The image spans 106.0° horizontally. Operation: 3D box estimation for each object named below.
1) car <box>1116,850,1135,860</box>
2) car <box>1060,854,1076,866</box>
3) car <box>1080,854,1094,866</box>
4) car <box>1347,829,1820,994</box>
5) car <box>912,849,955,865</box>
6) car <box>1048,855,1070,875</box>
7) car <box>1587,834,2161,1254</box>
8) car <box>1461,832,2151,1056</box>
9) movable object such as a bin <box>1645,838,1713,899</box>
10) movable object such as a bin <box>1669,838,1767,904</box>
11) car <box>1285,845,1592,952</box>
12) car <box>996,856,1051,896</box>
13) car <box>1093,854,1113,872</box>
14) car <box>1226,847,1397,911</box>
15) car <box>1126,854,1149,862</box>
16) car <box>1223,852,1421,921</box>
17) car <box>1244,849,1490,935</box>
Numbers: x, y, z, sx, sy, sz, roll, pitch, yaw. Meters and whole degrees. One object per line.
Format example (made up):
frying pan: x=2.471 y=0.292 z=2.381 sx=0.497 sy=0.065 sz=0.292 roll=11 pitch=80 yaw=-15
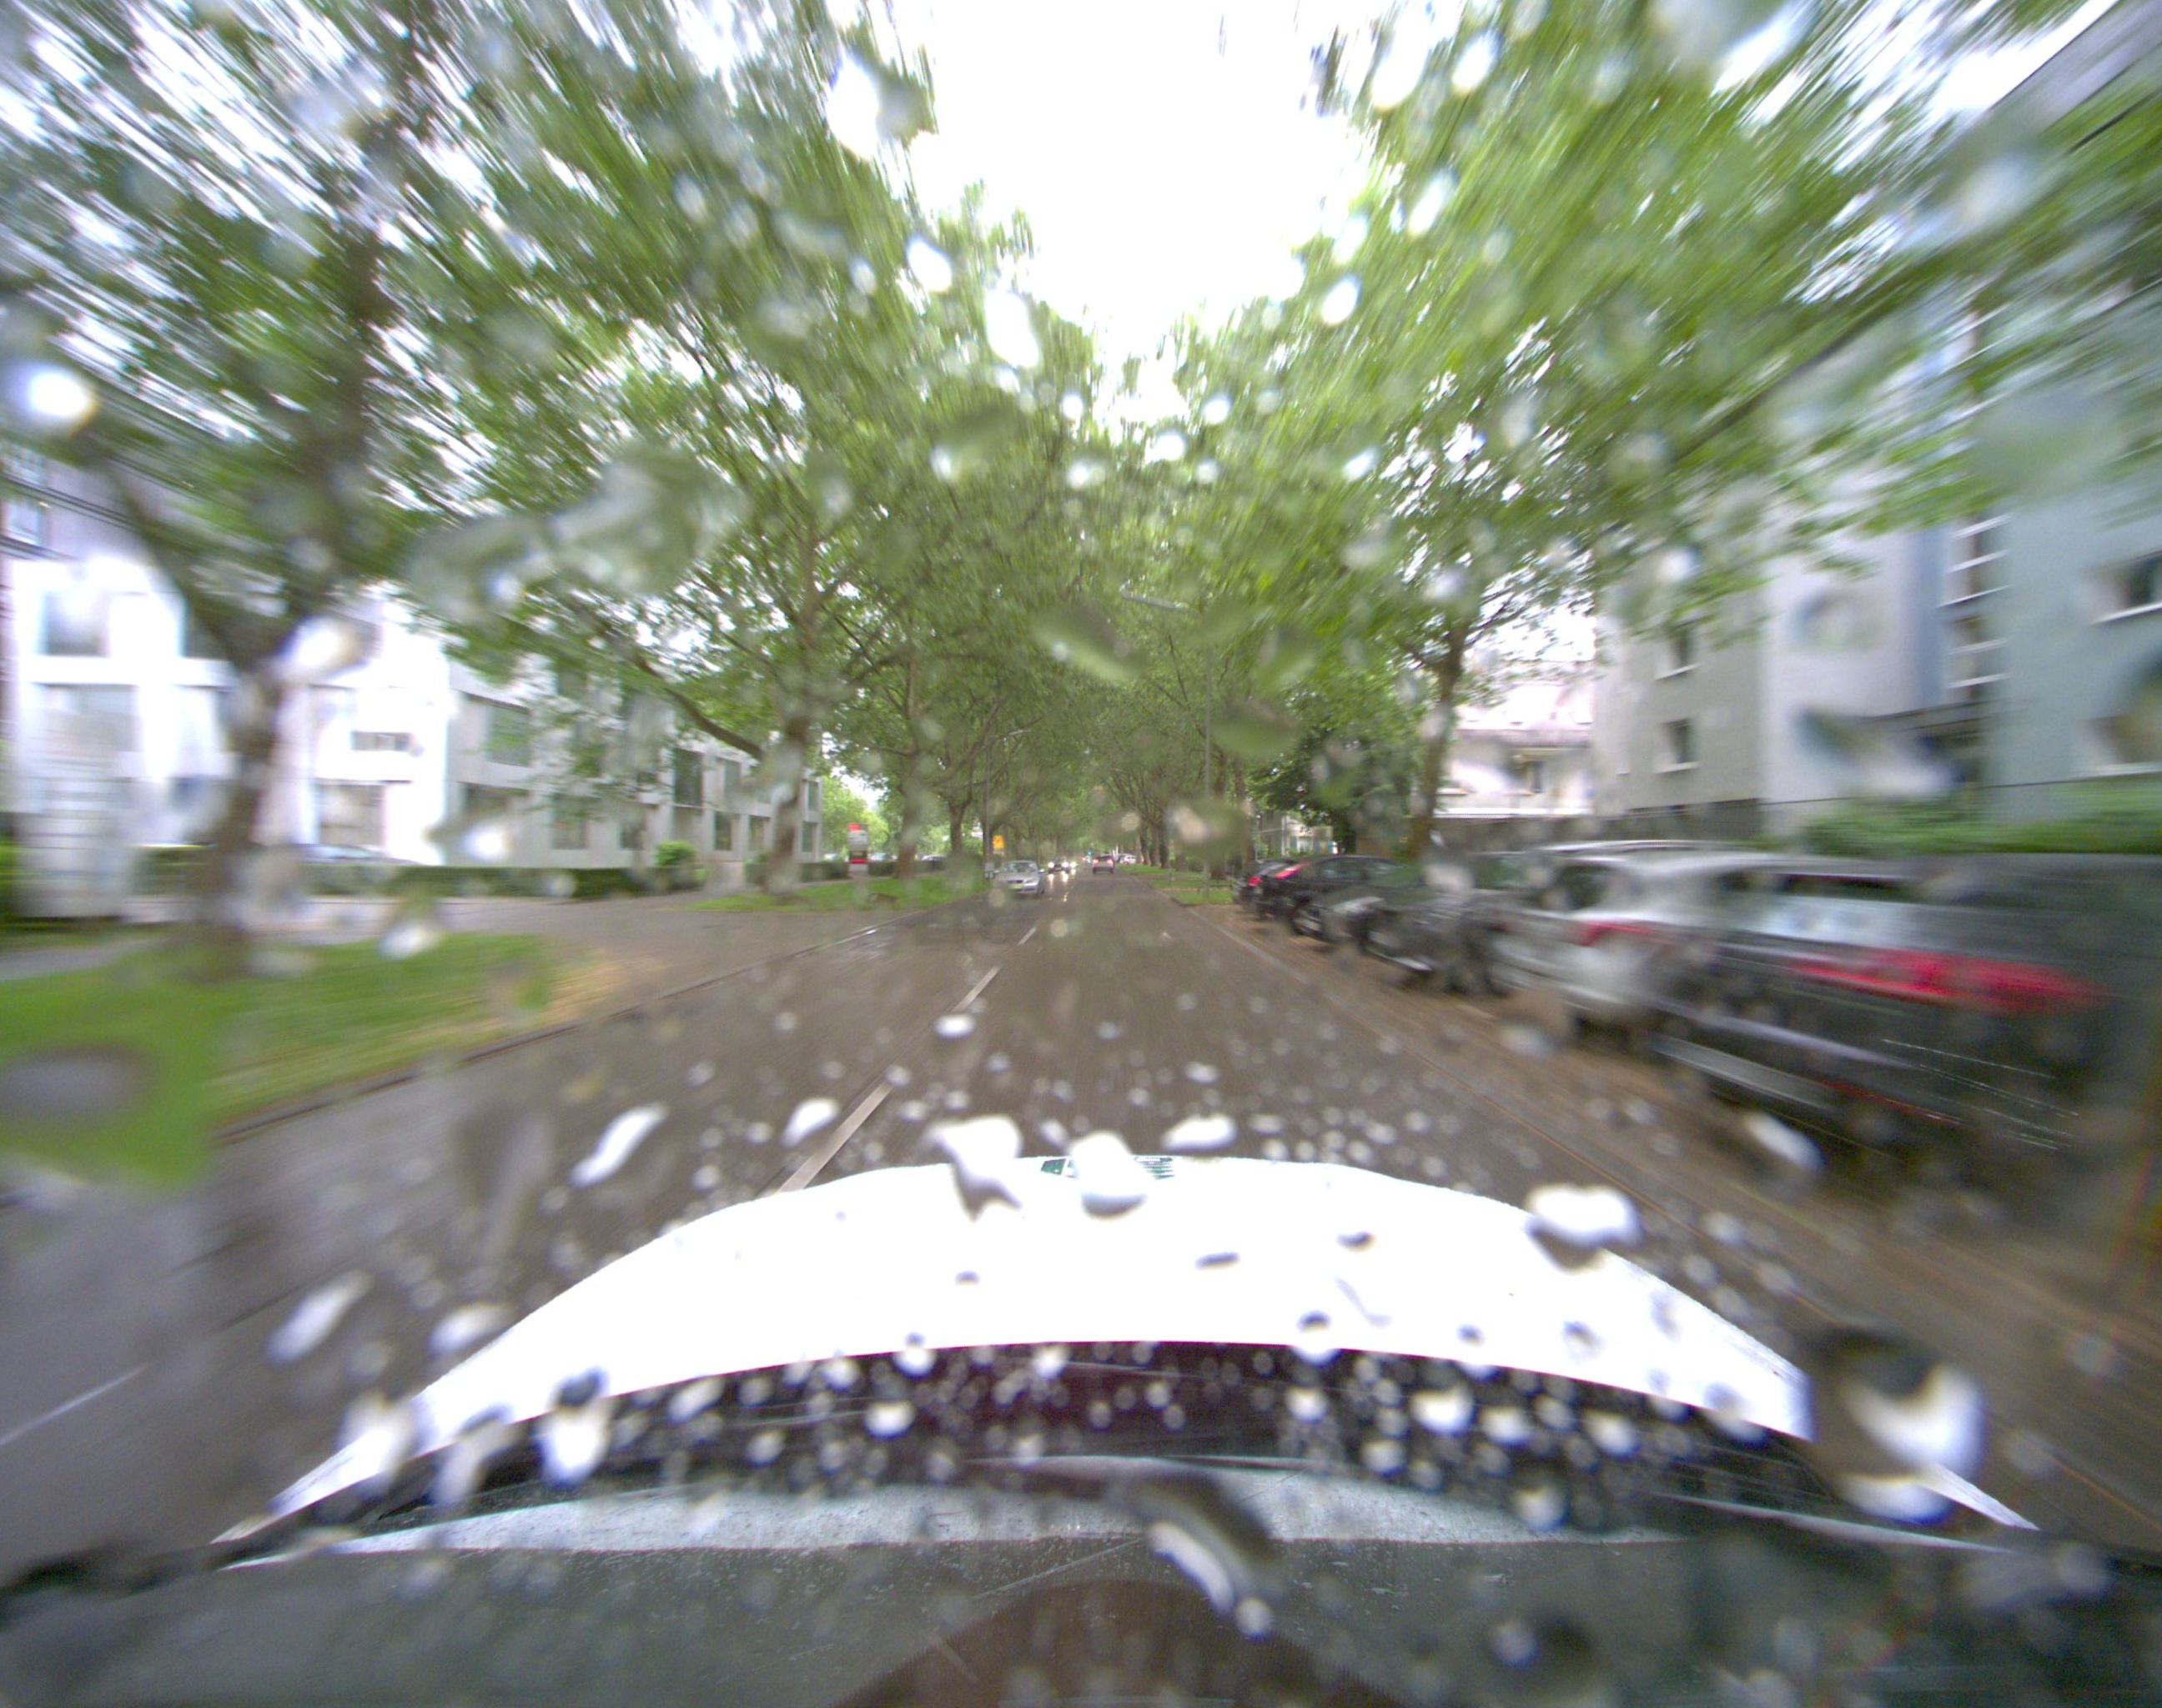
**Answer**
car: x=8.721 y=0.234 z=160.454 sx=3.536 sy=1.841 sz=1.711 roll=-2 pitch=0 yaw=-1
car: x=-1.540 y=0.676 z=94.931 sx=1.700 sy=1.250 sz=3.646 roll=-2 pitch=0 yaw=1
car: x=0.755 y=0.692 z=102.918 sx=1.700 sy=1.411 sz=3.646 roll=-2 pitch=0 yaw=1
car: x=5.415 y=0.575 z=9.225 sx=4.196 sy=1.655 sz=1.914 roll=0 pitch=0 yaw=0
car: x=-15.122 y=0.318 z=83.493 sx=3.972 sy=1.623 sz=2.001 roll=0 pitch=0 yaw=1
car: x=-2.003 y=0.969 z=74.359 sx=1.803 sy=1.684 sz=4.449 roll=-2 pitch=0 yaw=1
car: x=4.951 y=0.662 z=3.896 sx=4.024 sy=1.441 sz=1.684 roll=-2 pitch=0 yaw=-2
car: x=5.607 y=0.640 z=6.689 sx=4.198 sy=1.584 sz=1.746 roll=0 pitch=0 yaw=-1
movable object such as a bin: x=14.558 y=0.351 z=19.863 sx=0.861 sy=1.438 sz=1.114 roll=0 pitch=0 yaw=2
movable object such as a bin: x=14.471 y=0.365 z=18.564 sx=1.199 sy=1.438 sz=1.346 roll=0 pitch=0 yaw=2
car: x=5.399 y=0.636 z=12.658 sx=4.030 sy=1.530 sz=1.780 roll=0 pitch=0 yaw=-1
car: x=-2.202 y=0.817 z=32.194 sx=1.672 sy=1.388 sz=4.551 roll=-1 pitch=0 yaw=2
car: x=1.898 y=0.769 z=70.687 sx=1.700 sy=1.411 sz=3.646 roll=-2 pitch=0 yaw=1
car: x=5.882 y=0.621 z=21.094 sx=3.972 sy=1.578 sz=1.680 roll=0 pitch=0 yaw=1
car: x=9.193 y=0.674 z=132.522 sx=3.537 sy=1.155 sz=1.711 roll=-2 pitch=0 yaw=-2
car: x=5.300 y=0.692 z=18.266 sx=3.972 sy=1.438 sz=1.680 roll=0 pitch=0 yaw=1
car: x=5.327 y=0.682 z=15.578 sx=4.085 sy=1.513 sz=1.865 roll=0 pitch=0 yaw=1
